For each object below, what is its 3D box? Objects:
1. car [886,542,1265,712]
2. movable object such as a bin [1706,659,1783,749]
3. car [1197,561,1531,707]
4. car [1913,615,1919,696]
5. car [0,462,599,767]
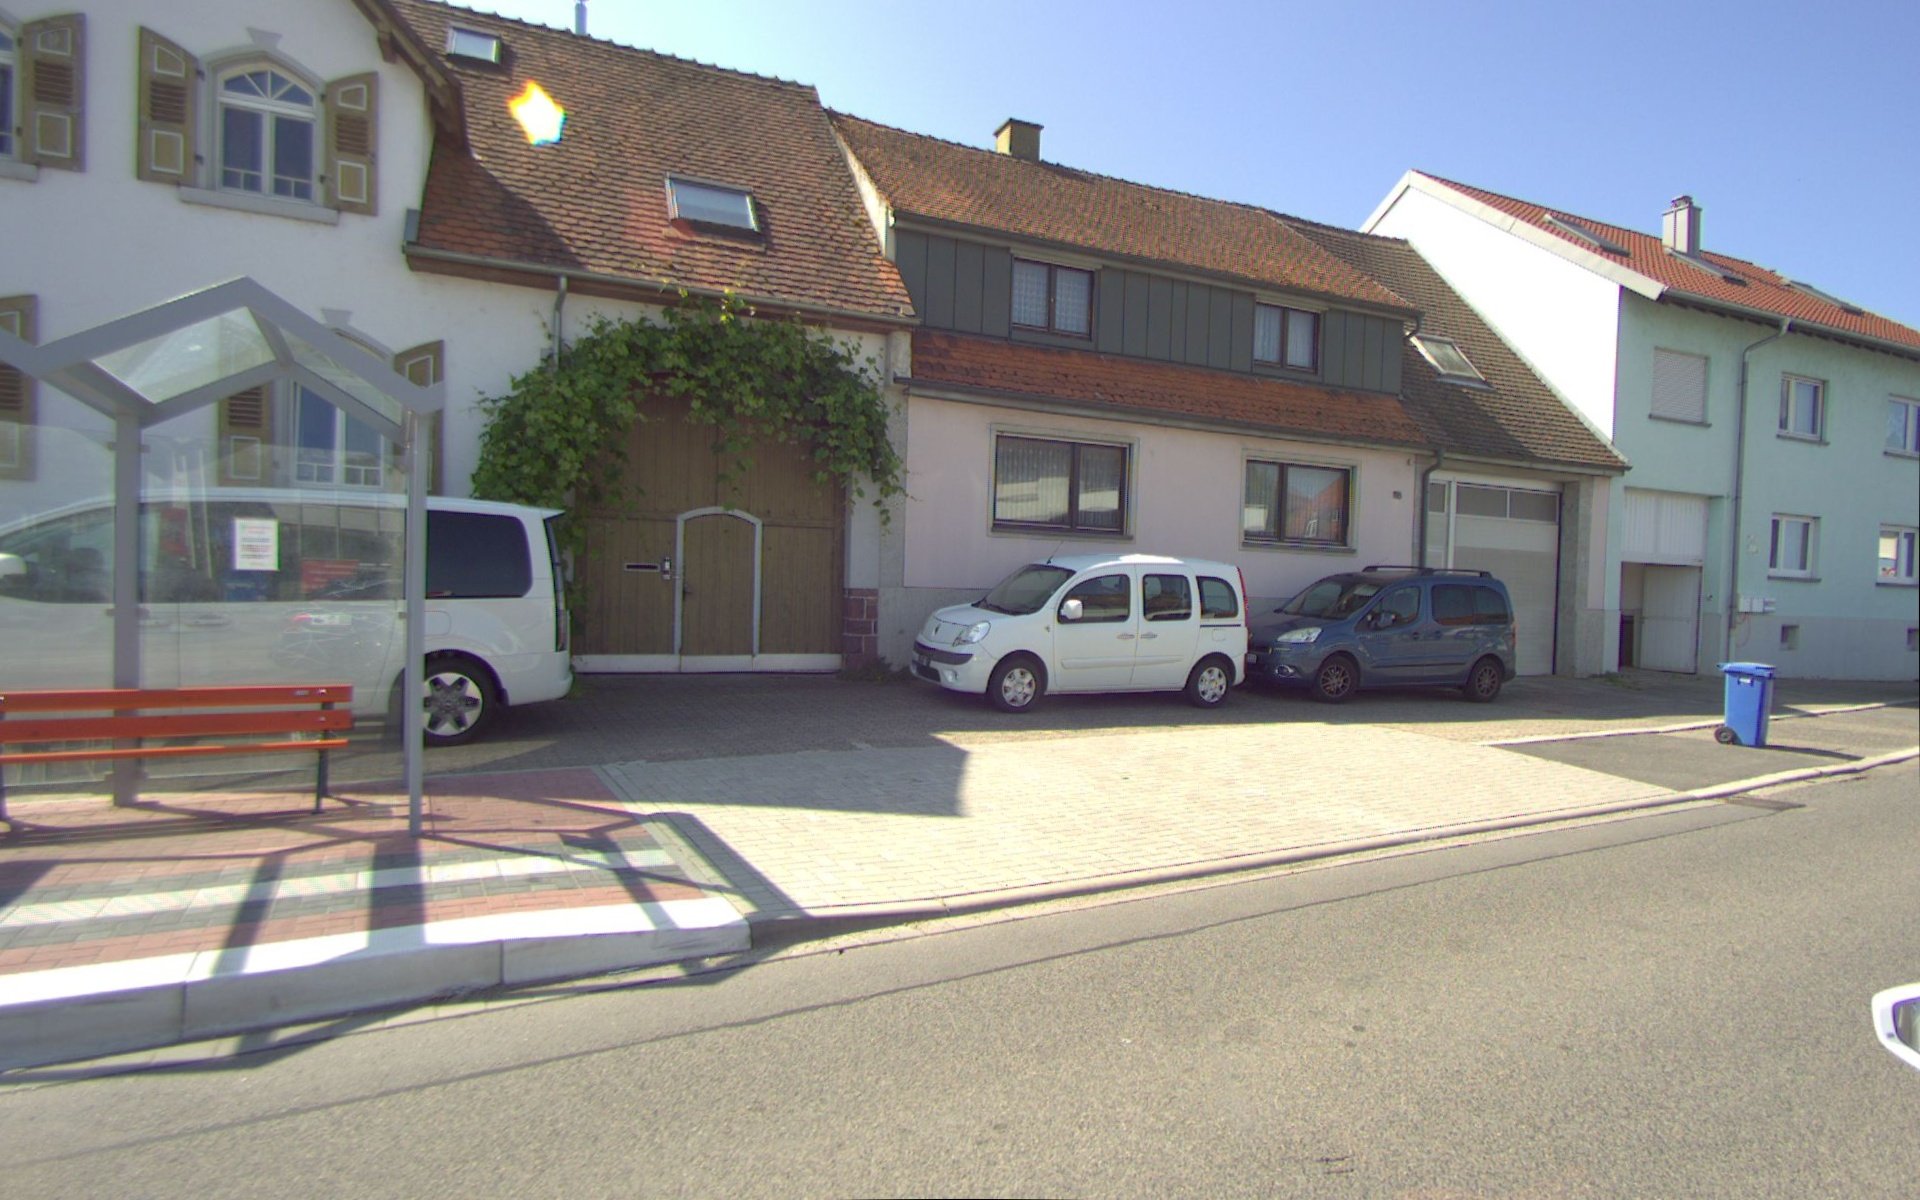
[{"bbox_3d":[1.427,0.332,12.420,4.218,1.798,1.962,2,1,-25],"label":"car"},{"bbox_3d":[9.122,1.191,11.683,0.510,0.949,0.553,1,3,-39],"label":"movable object such as a bin"},{"bbox_3d":[5.777,0.464,14.418,4.278,1.817,1.833,2,3,-21],"label":"car"},{"bbox_3d":[19.455,1.094,18.804,3.614,1.481,1.672,2,1,-36],"label":"car"},{"bbox_3d":[-5.862,0.103,8.139,5.204,2.013,2.115,2,1,-30],"label":"car"}]
